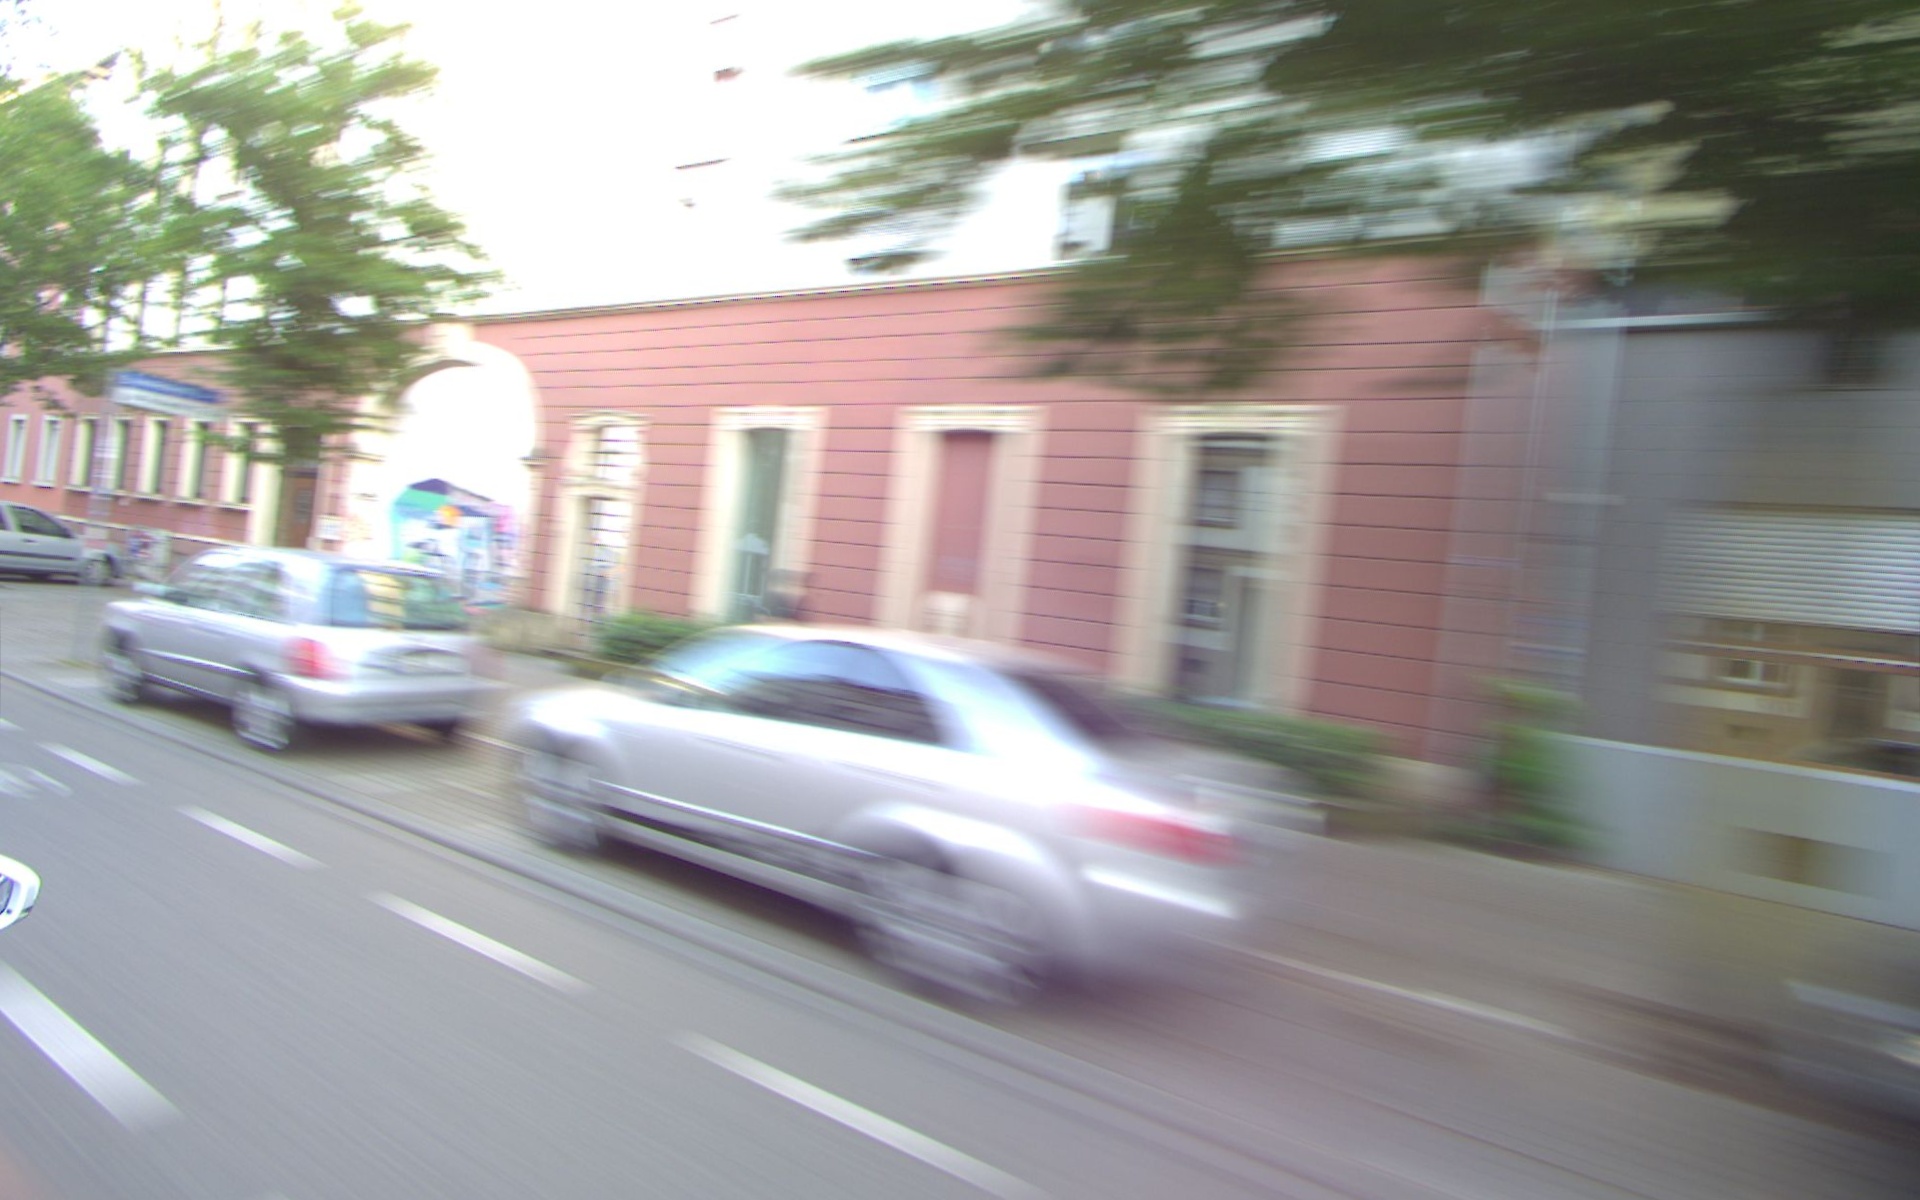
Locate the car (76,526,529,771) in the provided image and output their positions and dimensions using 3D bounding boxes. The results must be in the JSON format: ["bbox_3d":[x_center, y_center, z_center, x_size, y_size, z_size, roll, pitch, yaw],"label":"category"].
[{"bbox_3d":[-5.477,0.294,8.279,3.713,1.398,1.620,7,1,31],"label":"car"}]

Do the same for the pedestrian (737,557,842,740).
[{"bbox_3d":[-1.808,0.522,10.717,0.590,1.838,0.681,7,0,32],"label":"pedestrian"}]

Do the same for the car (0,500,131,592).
[{"bbox_3d":[-17.165,-1.035,17.839,1.589,1.446,3.496,5,-1,12],"label":"car"}]

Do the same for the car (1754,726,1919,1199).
[{"bbox_3d":[4.928,1.434,1.968,4.952,1.507,1.996,7,0,32],"label":"car"}]

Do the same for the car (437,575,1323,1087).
[{"bbox_3d":[-0.681,0.818,5.484,4.615,1.398,1.781,7,1,34],"label":"car"}]

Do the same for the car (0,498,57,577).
[{"bbox_3d":[-19.181,-1.311,18.488,1.637,1.446,3.568,7,0,6],"label":"car"}]
